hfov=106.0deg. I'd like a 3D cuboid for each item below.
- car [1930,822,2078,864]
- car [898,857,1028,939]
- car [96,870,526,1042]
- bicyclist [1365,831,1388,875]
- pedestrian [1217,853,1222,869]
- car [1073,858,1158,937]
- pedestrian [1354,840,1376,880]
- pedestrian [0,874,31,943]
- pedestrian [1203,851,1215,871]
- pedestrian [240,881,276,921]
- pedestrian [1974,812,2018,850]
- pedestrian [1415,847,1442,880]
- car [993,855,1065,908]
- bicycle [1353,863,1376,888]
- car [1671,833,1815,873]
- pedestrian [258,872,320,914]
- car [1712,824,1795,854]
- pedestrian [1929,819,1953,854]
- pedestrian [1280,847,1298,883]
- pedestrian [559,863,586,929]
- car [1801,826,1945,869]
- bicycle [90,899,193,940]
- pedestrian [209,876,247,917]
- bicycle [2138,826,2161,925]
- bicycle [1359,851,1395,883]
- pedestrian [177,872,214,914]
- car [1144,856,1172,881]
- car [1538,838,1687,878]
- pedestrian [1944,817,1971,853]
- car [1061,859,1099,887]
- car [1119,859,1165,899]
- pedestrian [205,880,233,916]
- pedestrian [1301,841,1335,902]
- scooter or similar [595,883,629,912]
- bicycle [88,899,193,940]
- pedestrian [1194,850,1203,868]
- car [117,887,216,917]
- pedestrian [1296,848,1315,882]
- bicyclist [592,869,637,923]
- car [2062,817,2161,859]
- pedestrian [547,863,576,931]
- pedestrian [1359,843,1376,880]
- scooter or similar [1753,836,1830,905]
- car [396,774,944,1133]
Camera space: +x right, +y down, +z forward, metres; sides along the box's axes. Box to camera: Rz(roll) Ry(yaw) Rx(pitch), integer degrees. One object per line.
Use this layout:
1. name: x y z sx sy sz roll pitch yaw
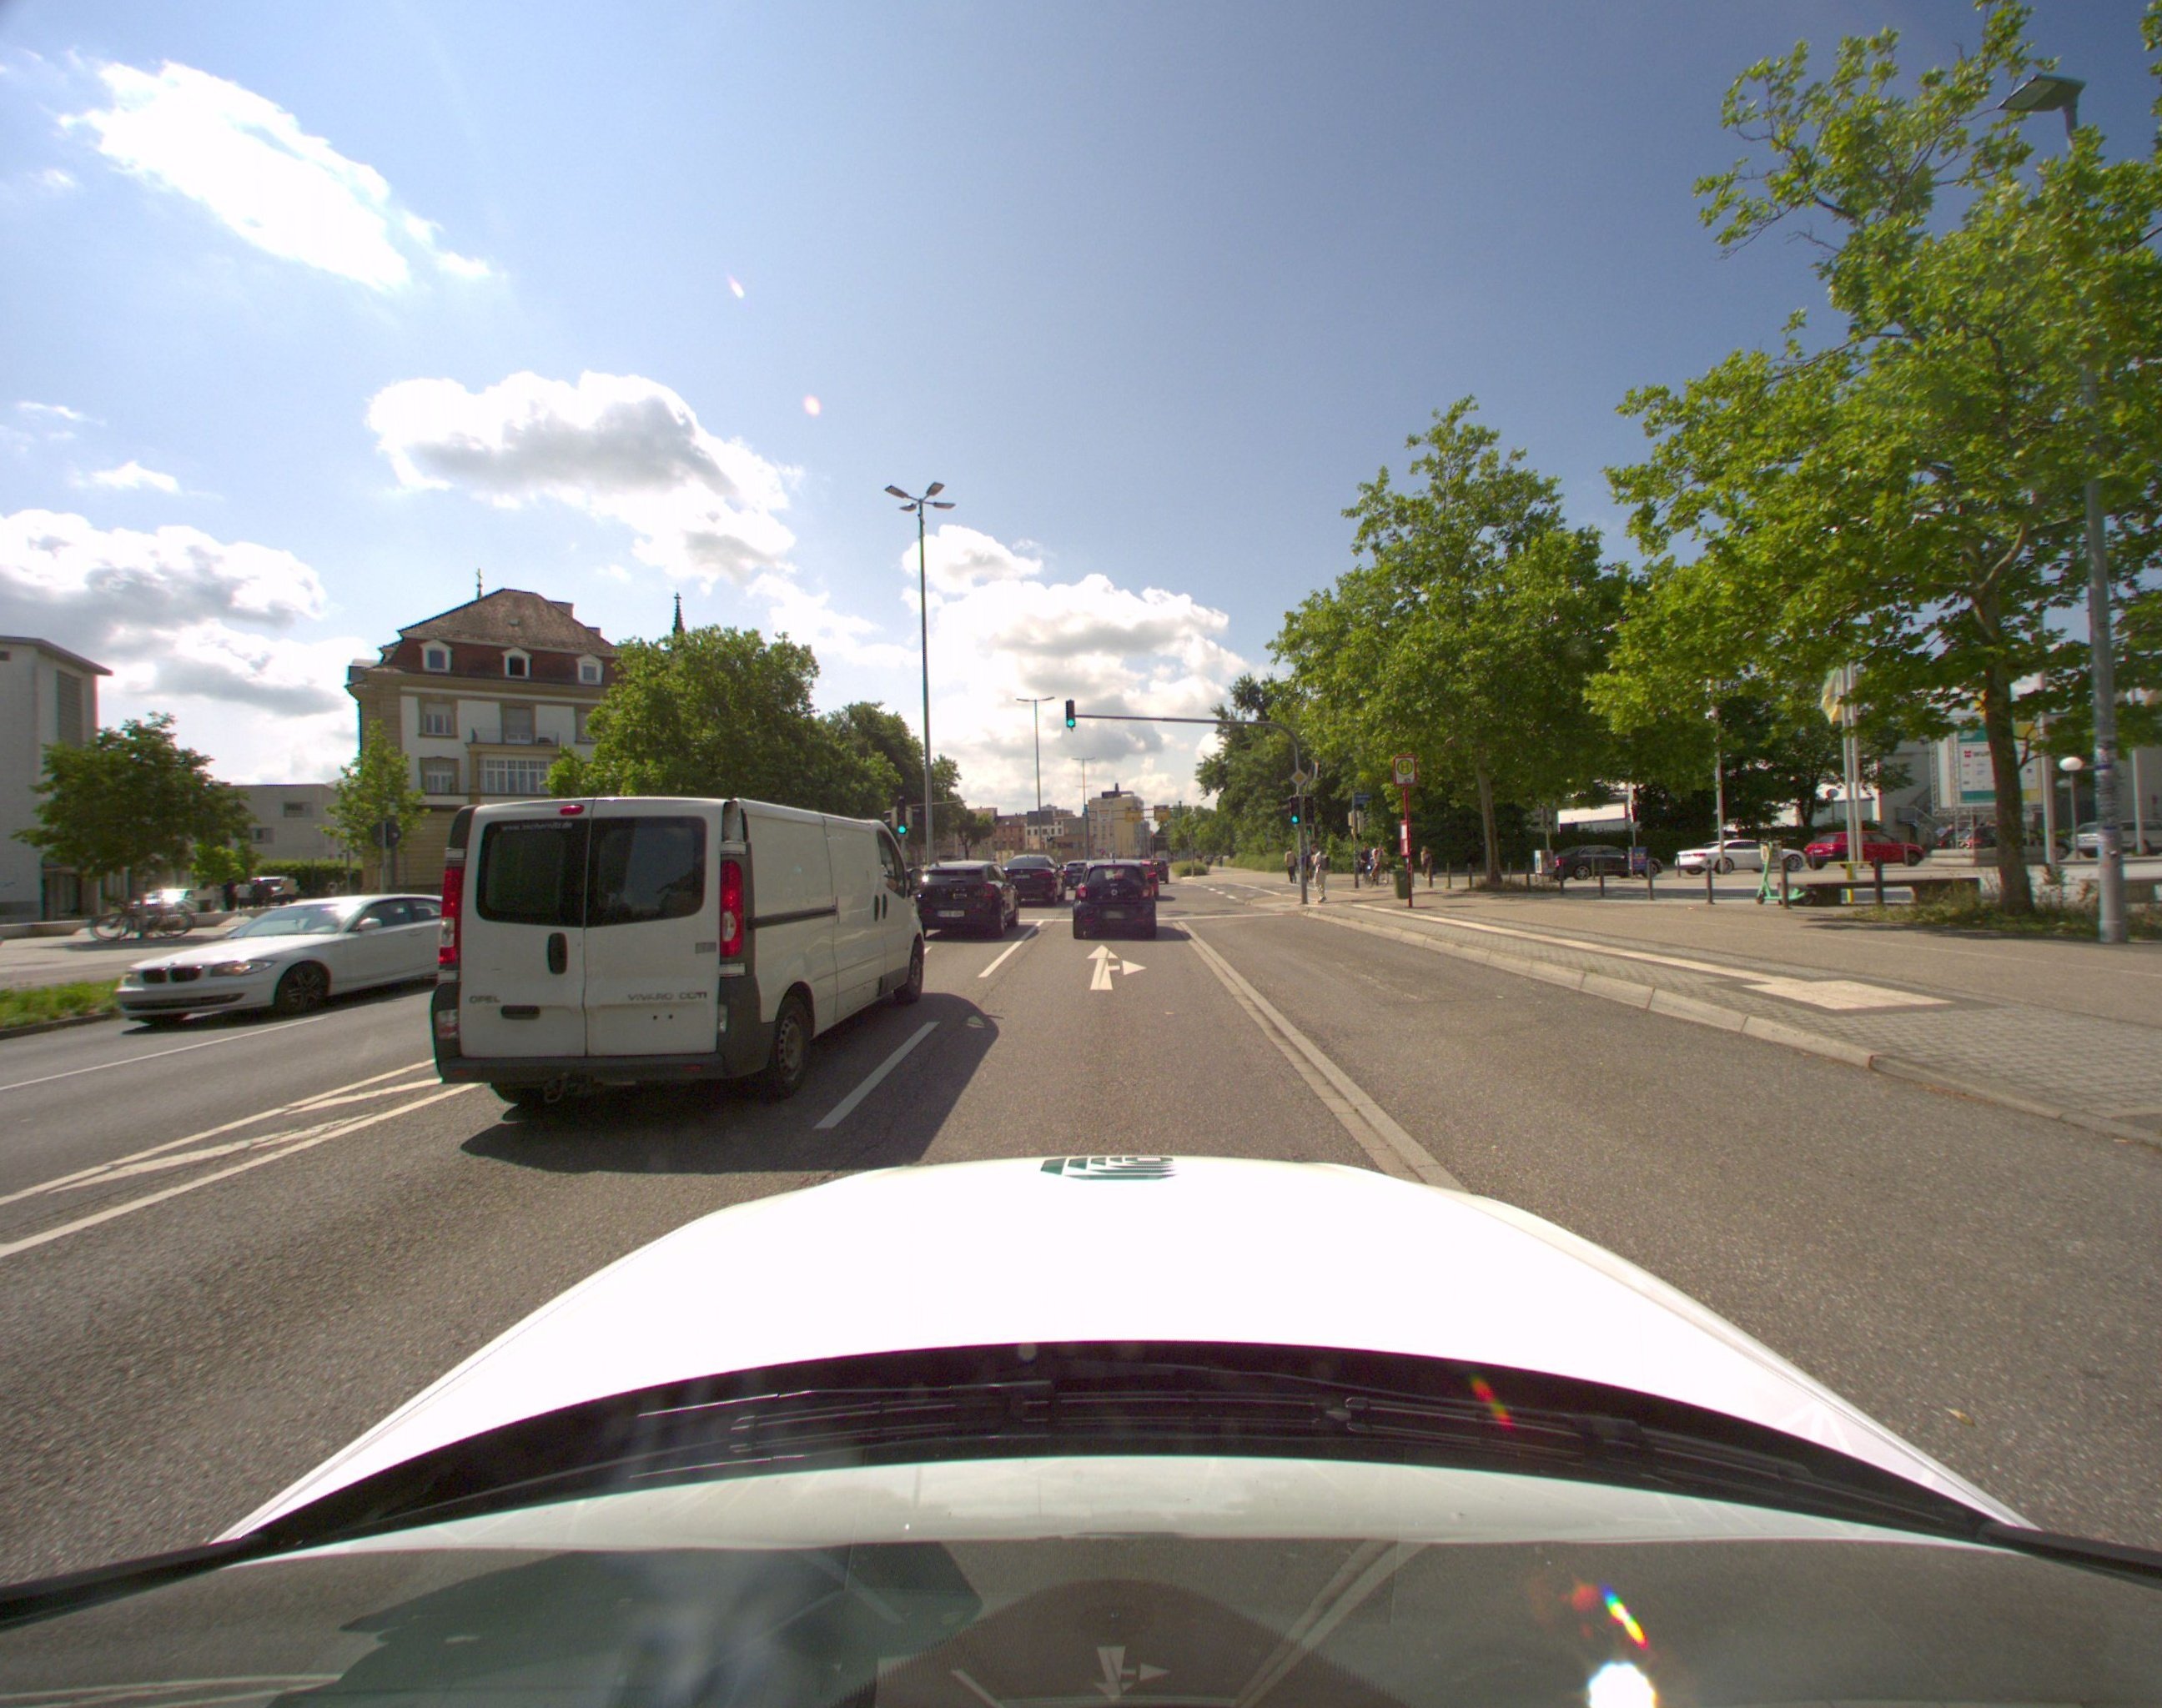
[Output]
1. car: 37.339 -0.421 33.020 3.972 1.529 1.725 -2 -1 1
2. car: -2.408 0.849 17.939 2.010 1.530 4.888 -1 0 1
3. car: -10.370 1.203 11.643 1.720 1.811 4.727 -2 0 -2
4. bicyclist: 12.427 -0.038 34.266 0.659 1.845 0.760 0 -1 -6
5. pedestrian: 16.487 0.873 97.175 0.500 1.890 0.560 0 -1 1
6. car: 0.786 0.844 17.180 1.604 1.485 3.521 -1 0 4
7. pedestrian: 13.203 0.272 37.885 0.848 1.820 1.180 0 0 13
8. pedestrian: -26.740 1.346 19.767 1.174 1.650 1.015 -2 -1 1
9. pedestrian: 11.272 0.659 71.694 0.847 1.701 0.932 -3 -1 4
10. pedestrian: -37.999 2.165 37.584 0.834 1.790 0.870 -2 -1 20
11. pedestrian: 48.007 -1.176 42.739 1.013 1.920 1.099 -2 -1 2
12. pedestrian: 17.396 0.466 40.759 0.852 1.626 1.019 -3 1 -2
13. car: -1.681 0.858 27.599 1.819 1.601 4.398 -1 0 4
14. bicycle: 13.145 0.980 37.796 0.809 1.072 1.898 -1 0 14
15. car: 26.966 -0.005 33.269 4.408 1.400 1.724 -2 -3 1
16. pedestrian: -32.738 1.604 33.696 1.312 1.651 1.304 -2 -1 14
17. car: 47.674 -1.002 57.854 1.985 1.986 4.941 -1 0 3
18. pedestrian: 48.285 -0.982 45.729 0.586 1.925 0.790 -2 -1 23
19. pedestrian: 10.184 0.543 39.933 0.790 1.704 1.186 -1 0 12
20. pedestrian: -14.528 1.192 23.288 0.413 1.842 0.574 -1 -1 -4
21. car: 32.152 -0.244 33.134 4.118 1.497 1.620 -2 -3 1
22. bicycle: -24.986 1.719 21.685 0.522 0.955 1.784 -2 -1 39
23. pedestrian: -38.470 1.925 36.742 0.834 1.790 0.897 -2 -1 18
24. bicycle: 13.192 0.243 8.944 0.792 1.183 2.038 -1 -1 12
25. bicycle: 12.421 0.530 34.181 0.659 1.297 1.870 0 -1 -6
26. pedestrian: -38.955 1.727 35.833 0.833 1.790 0.818 -2 -1 21
27. car: 4.471 0.829 47.638 1.604 1.411 3.521 0 0 4
28. car: 21.637 0.196 33.273 4.915 1.400 1.724 -2 -3 1
29. pedestrian: 48.921 -1.045 45.463 0.725 1.925 0.789 -2 -1 23
30. car: -0.020 0.918 40.866 1.604 1.325 3.521 -1 0 4
31. car: 2.276 0.894 30.504 1.604 1.411 3.521 0 0 4
32. pedestrian: -44.125 2.229 41.701 0.678 1.790 0.837 -2 -1 -21
33. pedestrian: 7.135 0.533 24.517 0.598 1.800 0.604 -3 -1 -33
34. scooter or similar: -18.891 1.744 32.801 1.153 1.067 0.399 -1 -1 -26
35. bicycle: -24.553 1.687 21.287 0.522 0.955 1.784 -2 -1 39
36. pedestrian: 12.971 0.534 89.936 0.835 1.969 0.861 -2 -1 2
37. car: -46.236 2.395 41.298 2.006 1.306 4.450 0 -1 -30
38. pedestrian: 11.336 0.550 41.133 0.790 1.704 1.186 -1 0 12
39. bicyclist: -14.468 1.296 25.272 0.992 1.615 0.658 -2 -1 4
40. car: 43.020 -0.682 32.990 4.540 1.529 1.723 -2 -2 -3
41. pedestrian: -14.386 1.182 22.575 0.479 1.842 0.630 -1 -1 -13
42. pedestrian: 14.523 0.387 41.295 0.666 1.821 0.706 -1 0 12
43. scooter or similar: 12.587 0.287 14.461 0.351 1.165 1.193 0 -1 2
44. car: -2.727 0.570 7.116 1.999 1.955 5.196 -1 0 2
